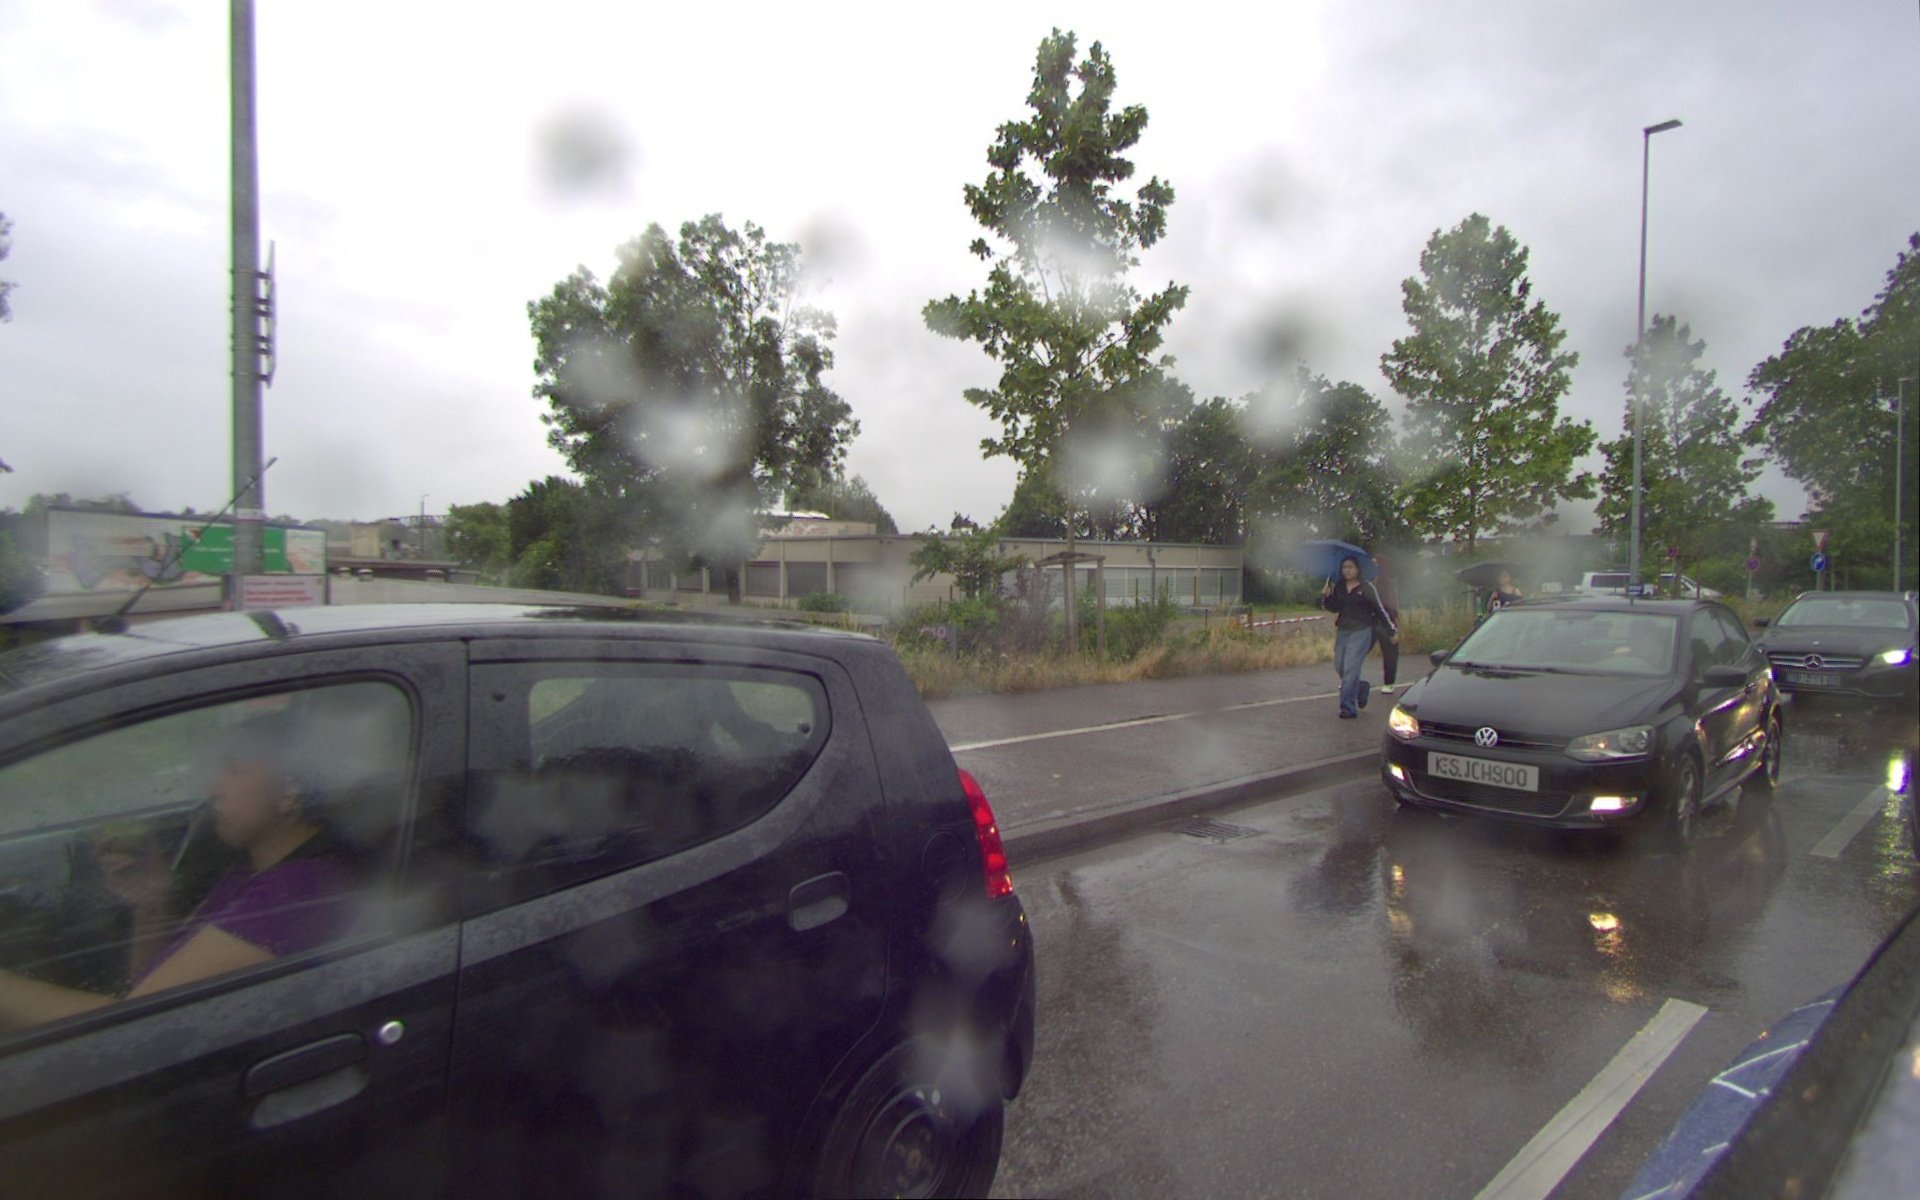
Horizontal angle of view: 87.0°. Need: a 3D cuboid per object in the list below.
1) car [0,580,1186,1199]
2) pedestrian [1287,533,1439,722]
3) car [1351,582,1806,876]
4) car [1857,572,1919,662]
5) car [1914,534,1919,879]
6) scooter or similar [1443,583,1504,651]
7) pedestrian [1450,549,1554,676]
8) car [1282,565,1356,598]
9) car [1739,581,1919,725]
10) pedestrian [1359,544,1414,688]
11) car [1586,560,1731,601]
[{"bbox_3d":[-1.296,0.693,1.999,3.561,1.446,1.631,-1,1,-41],"label":"car"},{"bbox_3d":[4.056,0.223,10.212,0.953,1.777,1.081,-2,3,-41],"label":"pedestrian"},{"bbox_3d":[4.277,0.613,6.795,3.561,1.446,1.631,-1,1,-41],"label":"car"},{"bbox_3d":[17.706,0.249,18.331,4.052,1.488,1.702,-2,2,-41],"label":"car"},{"bbox_3d":[6.545,0.444,5.392,4.090,1.607,1.689,-2,1,-40],"label":"car"},{"bbox_3d":[9.275,0.284,18.254,1.747,1.144,0.380,-2,3,-43],"label":"scooter or similar"},{"bbox_3d":[7.789,0.147,14.560,0.876,1.729,1.025,-2,4,-41],"label":"pedestrian"},{"bbox_3d":[22.807,-1.152,64.340,1.964,2.039,3.997,-2,1,-38],"label":"car"},{"bbox_3d":[11.827,0.573,13.364,3.747,1.593,1.697,-2,1,-40],"label":"car"},{"bbox_3d":[5.108,0.181,12.122,0.433,1.682,0.401,-2,4,-41],"label":"pedestrian"},{"bbox_3d":[29.710,-0.812,43.155,1.966,1.670,4.753,-2,1,-42],"label":"car"}]
